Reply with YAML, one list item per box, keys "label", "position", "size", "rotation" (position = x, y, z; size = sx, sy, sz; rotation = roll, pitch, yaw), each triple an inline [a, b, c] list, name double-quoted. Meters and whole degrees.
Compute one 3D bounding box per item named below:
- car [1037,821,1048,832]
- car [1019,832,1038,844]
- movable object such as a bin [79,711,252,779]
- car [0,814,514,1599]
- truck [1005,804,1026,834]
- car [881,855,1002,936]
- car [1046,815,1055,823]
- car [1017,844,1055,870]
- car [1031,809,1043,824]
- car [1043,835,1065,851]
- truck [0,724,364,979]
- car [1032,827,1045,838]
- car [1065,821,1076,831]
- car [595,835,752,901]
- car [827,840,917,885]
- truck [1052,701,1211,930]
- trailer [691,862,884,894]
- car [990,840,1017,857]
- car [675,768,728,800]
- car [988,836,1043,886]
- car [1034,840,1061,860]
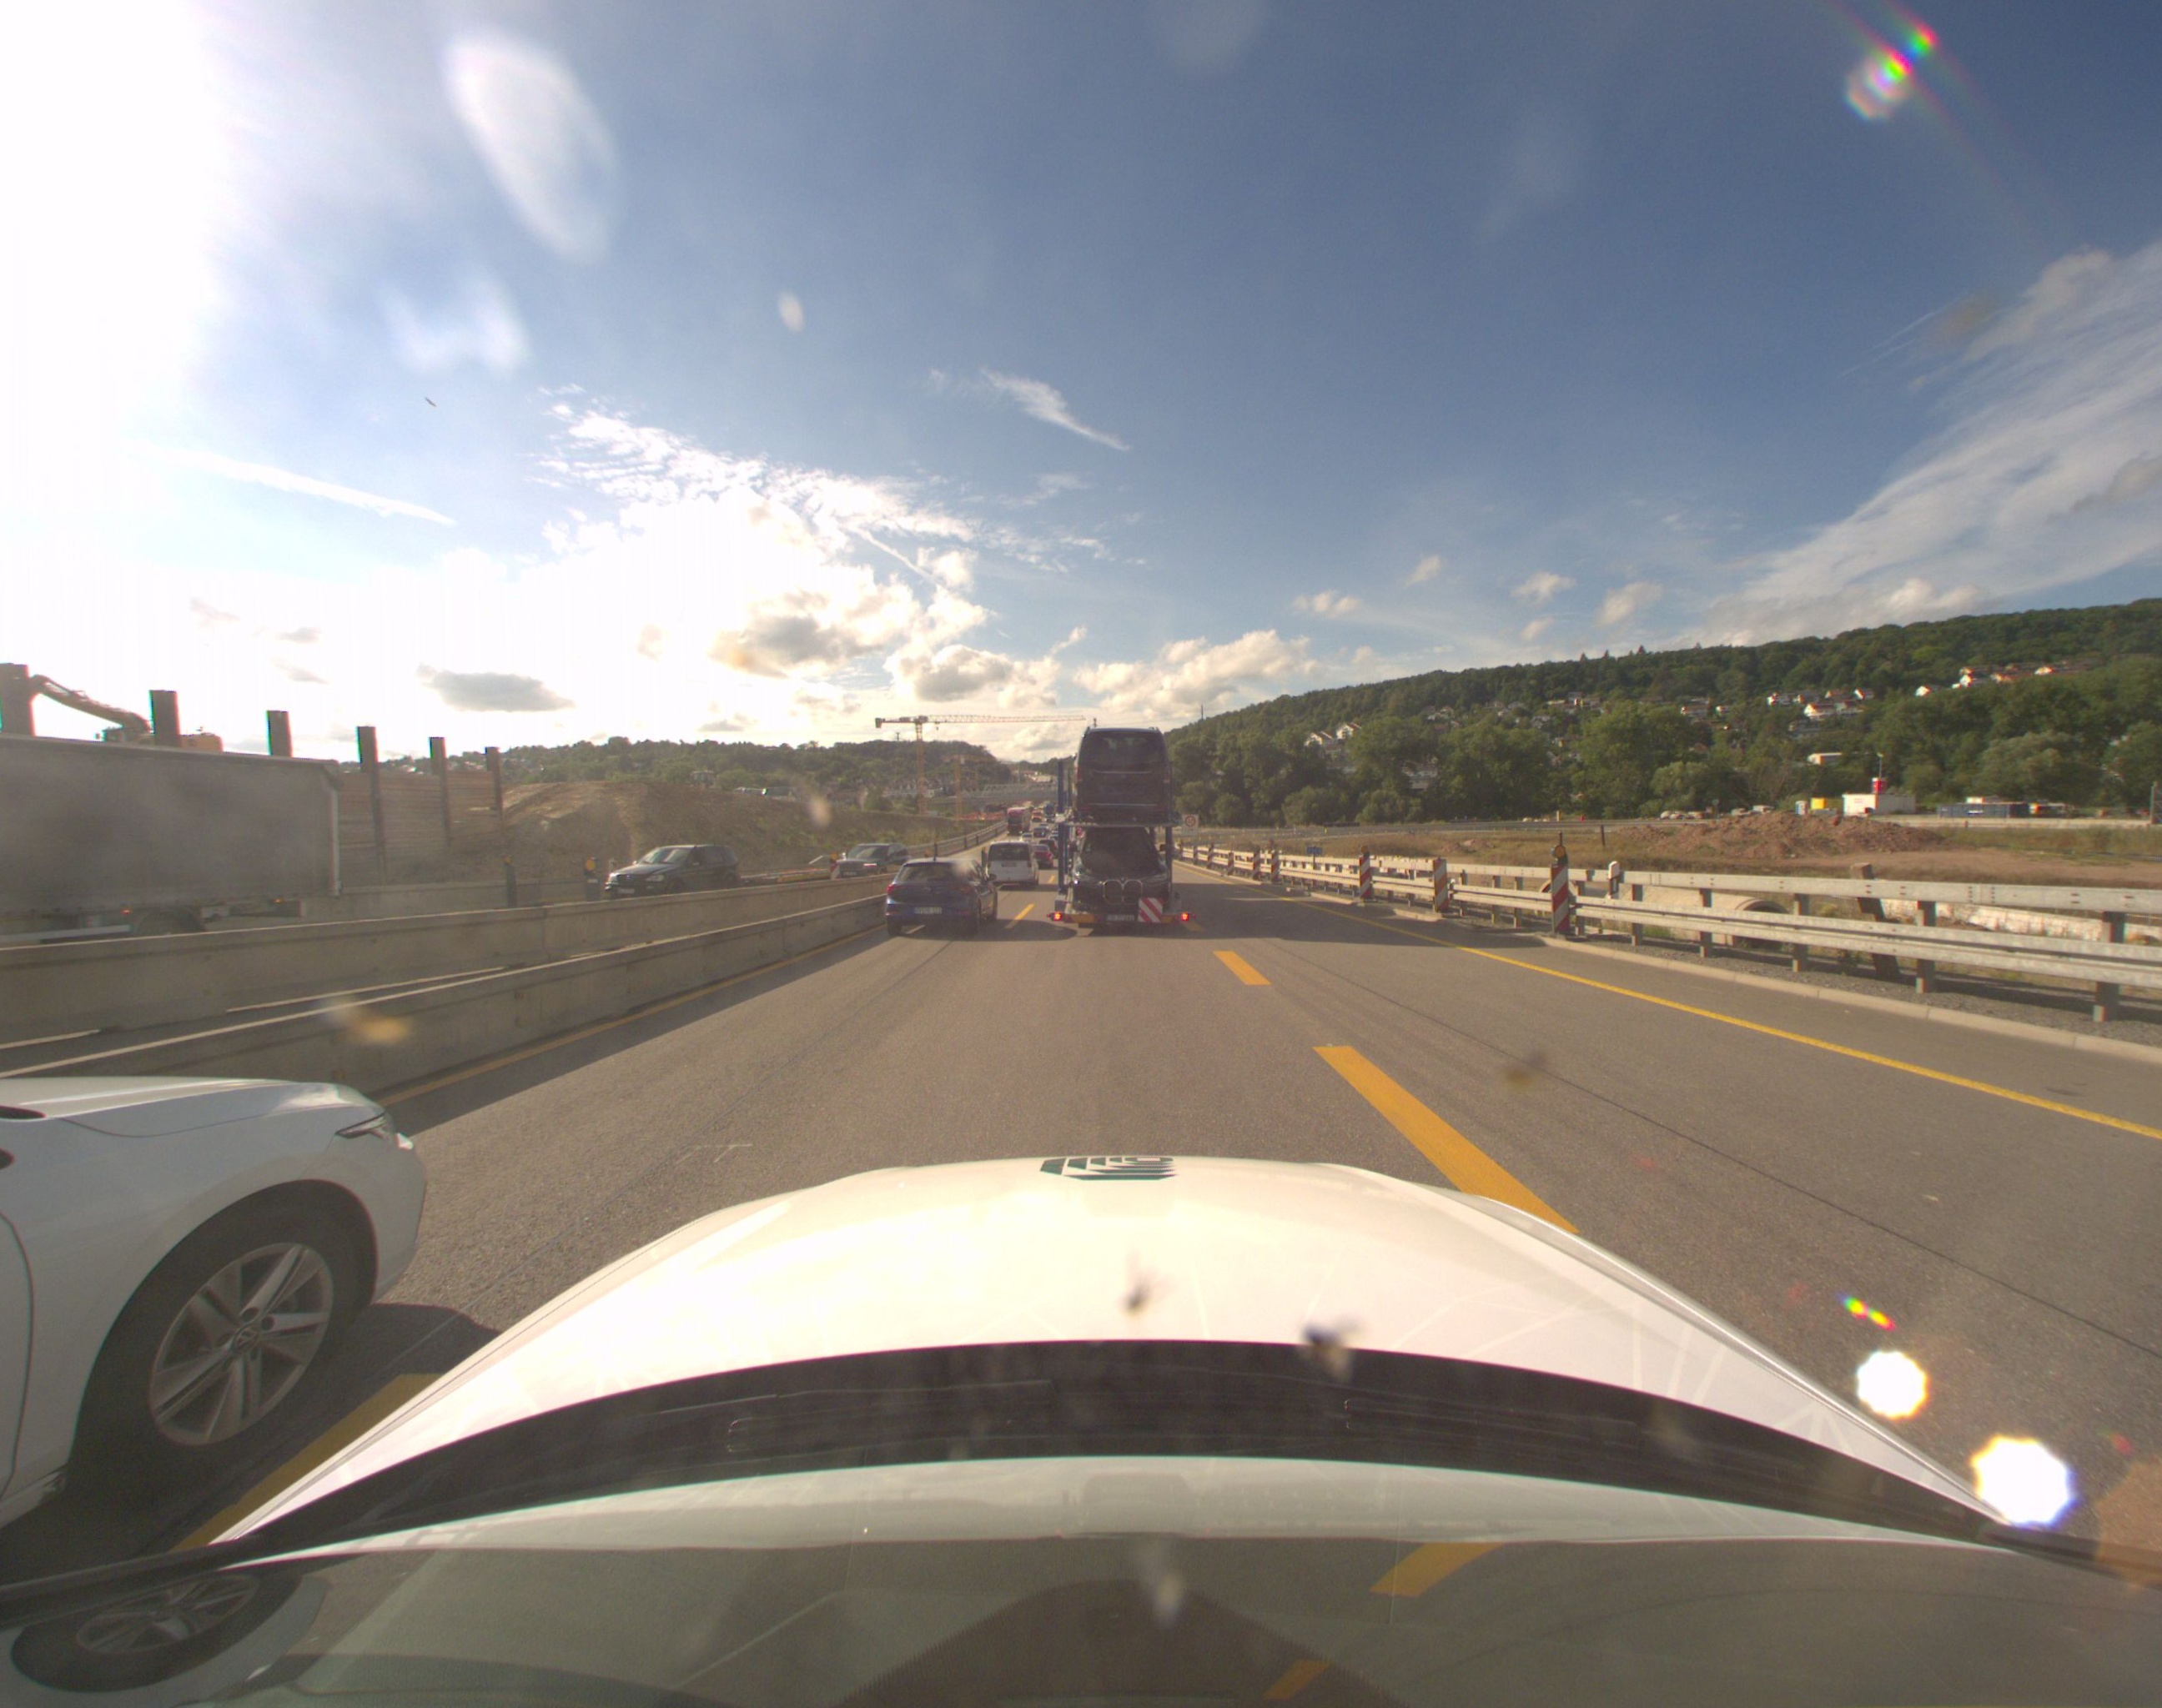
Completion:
- label: "car"
  position: [-6.488, -4.649, 137.832]
  size: [1.839, 1.648, 4.501]
  rotation: [0, 1, -2]
- label: "car"
  position: [-6.132, -1.847, 95.346]
  size: [1.747, 1.440, 3.807]
  rotation: [0, 1, 2]
- label: "movable object such as a bin"
  position: [-54.441, -6.375, 48.575]
  size: [5.708, 3.270, 4.525]
  rotation: [0, -1, 12]
- label: "car"
  position: [-2.984, 0.679, 0.654]
  size: [1.763, 1.491, 4.518]
  rotation: [-2, -1, 2]
- label: "truck"
  position: [-10.051, -5.355, 125.068]
  size: [2.907, 4.386, 6.280]
  rotation: [1, 1, -3]
- label: "car"
  position: [-2.677, 0.753, 16.456]
  size: [1.716, 1.422, 4.000]
  rotation: [0, -1, 0]
- label: "car"
  position: [-6.423, -7.337, 170.928]
  size: [1.840, 1.648, 4.233]
  rotation: [0, 1, -2]
- label: "car"
  position: [-2.693, 0.209, 49.844]
  size: [1.986, 1.556, 4.402]
  rotation: [0, -1, 2]
- label: "car"
  position: [-9.665, -8.260, 179.346]
  size: [1.986, 2.879, 6.065]
  rotation: [0, -1, 1]
- label: "car"
  position: [-2.752, -1.144, 83.739]
  size: [1.987, 1.665, 4.001]
  rotation: [0, 1, 1]
- label: "truck"
  position: [-15.255, -0.018, 11.491]
  size: [2.683, 3.312, 7.561]
  rotation: [0, -1, 12]
- label: "car"
  position: [-6.158, -3.124, 118.324]
  size: [1.816, 1.439, 4.612]
  rotation: [0, 1, -1]
- label: "car"
  position: [-1.965, -5.187, 152.320]
  size: [1.839, 1.648, 4.501]
  rotation: [0, 1, -2]
- label: "car"
  position: [-12.114, 0.401, 24.607]
  size: [1.981, 1.804, 4.456]
  rotation: [0, 0, 9]
- label: "car"
  position: [-8.070, 0.282, 31.925]
  size: [1.843, 1.635, 4.757]
  rotation: [0, 1, 6]
- label: "truck"
  position: [0.717, -0.767, 23.650]
  size: [2.745, 3.954, 18.881]
  rotation: [1, 1, -1]
- label: "trailer"
  position: [-10.946, 0.849, 31.971]
  size: [2.337, 0.939, 10.356]
  rotation: [0, 0, 9]
- label: "car"
  position: [-6.816, -0.527, 72.193]
  size: [1.845, 1.439, 4.561]
  rotation: [0, 1, 2]
- label: "car"
  position: [-33.346, -6.137, 71.743]
  size: [1.987, 2.140, 5.320]
  rotation: [-5, -1, 0]
- label: "car"
  position: [-2.466, 0.280, 31.387]
  size: [1.817, 1.792, 3.999]
  rotation: [0, -1, 0]
- label: "car"
  position: [-2.662, -0.313, 65.893]
  size: [1.987, 1.552, 3.999]
  rotation: [0, -1, 0]
